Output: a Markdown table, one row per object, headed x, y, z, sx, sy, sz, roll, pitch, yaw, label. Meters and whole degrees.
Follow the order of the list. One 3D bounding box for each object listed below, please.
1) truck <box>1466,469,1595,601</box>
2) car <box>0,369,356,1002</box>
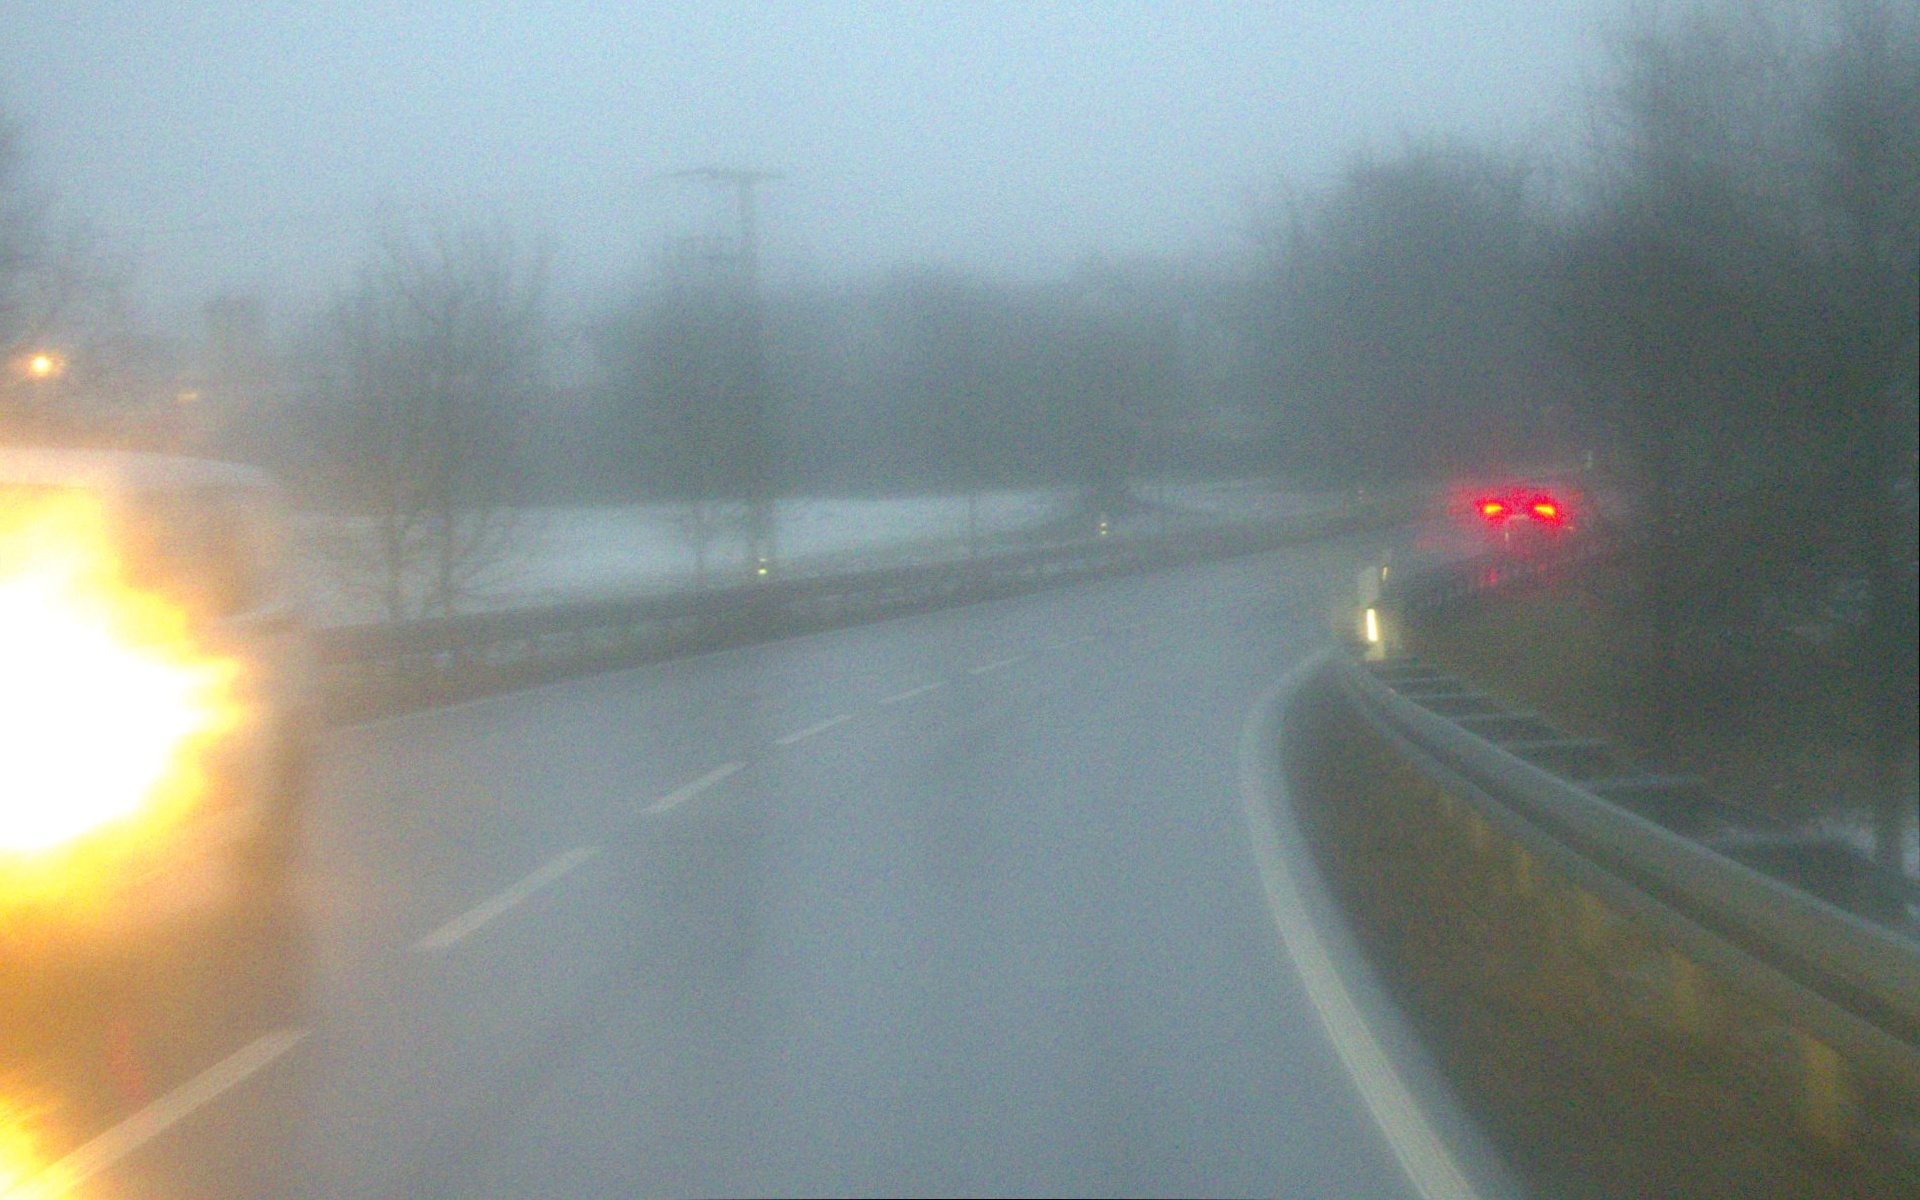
| x | y | z | sx | sy | sz | roll | pitch | yaw | label |
| --- | --- | --- | --- | --- | --- | --- | --- | --- | --- |
| 13.985 | -1.635 | 83.975 | 2.533 | 2.859 | 5.919 | -1 | 4 | 15 | truck |
| -3.681 | 0.187 | 12.603 | 1.883 | 1.857 | 5.006 | -1 | 2 | 2 | car |
